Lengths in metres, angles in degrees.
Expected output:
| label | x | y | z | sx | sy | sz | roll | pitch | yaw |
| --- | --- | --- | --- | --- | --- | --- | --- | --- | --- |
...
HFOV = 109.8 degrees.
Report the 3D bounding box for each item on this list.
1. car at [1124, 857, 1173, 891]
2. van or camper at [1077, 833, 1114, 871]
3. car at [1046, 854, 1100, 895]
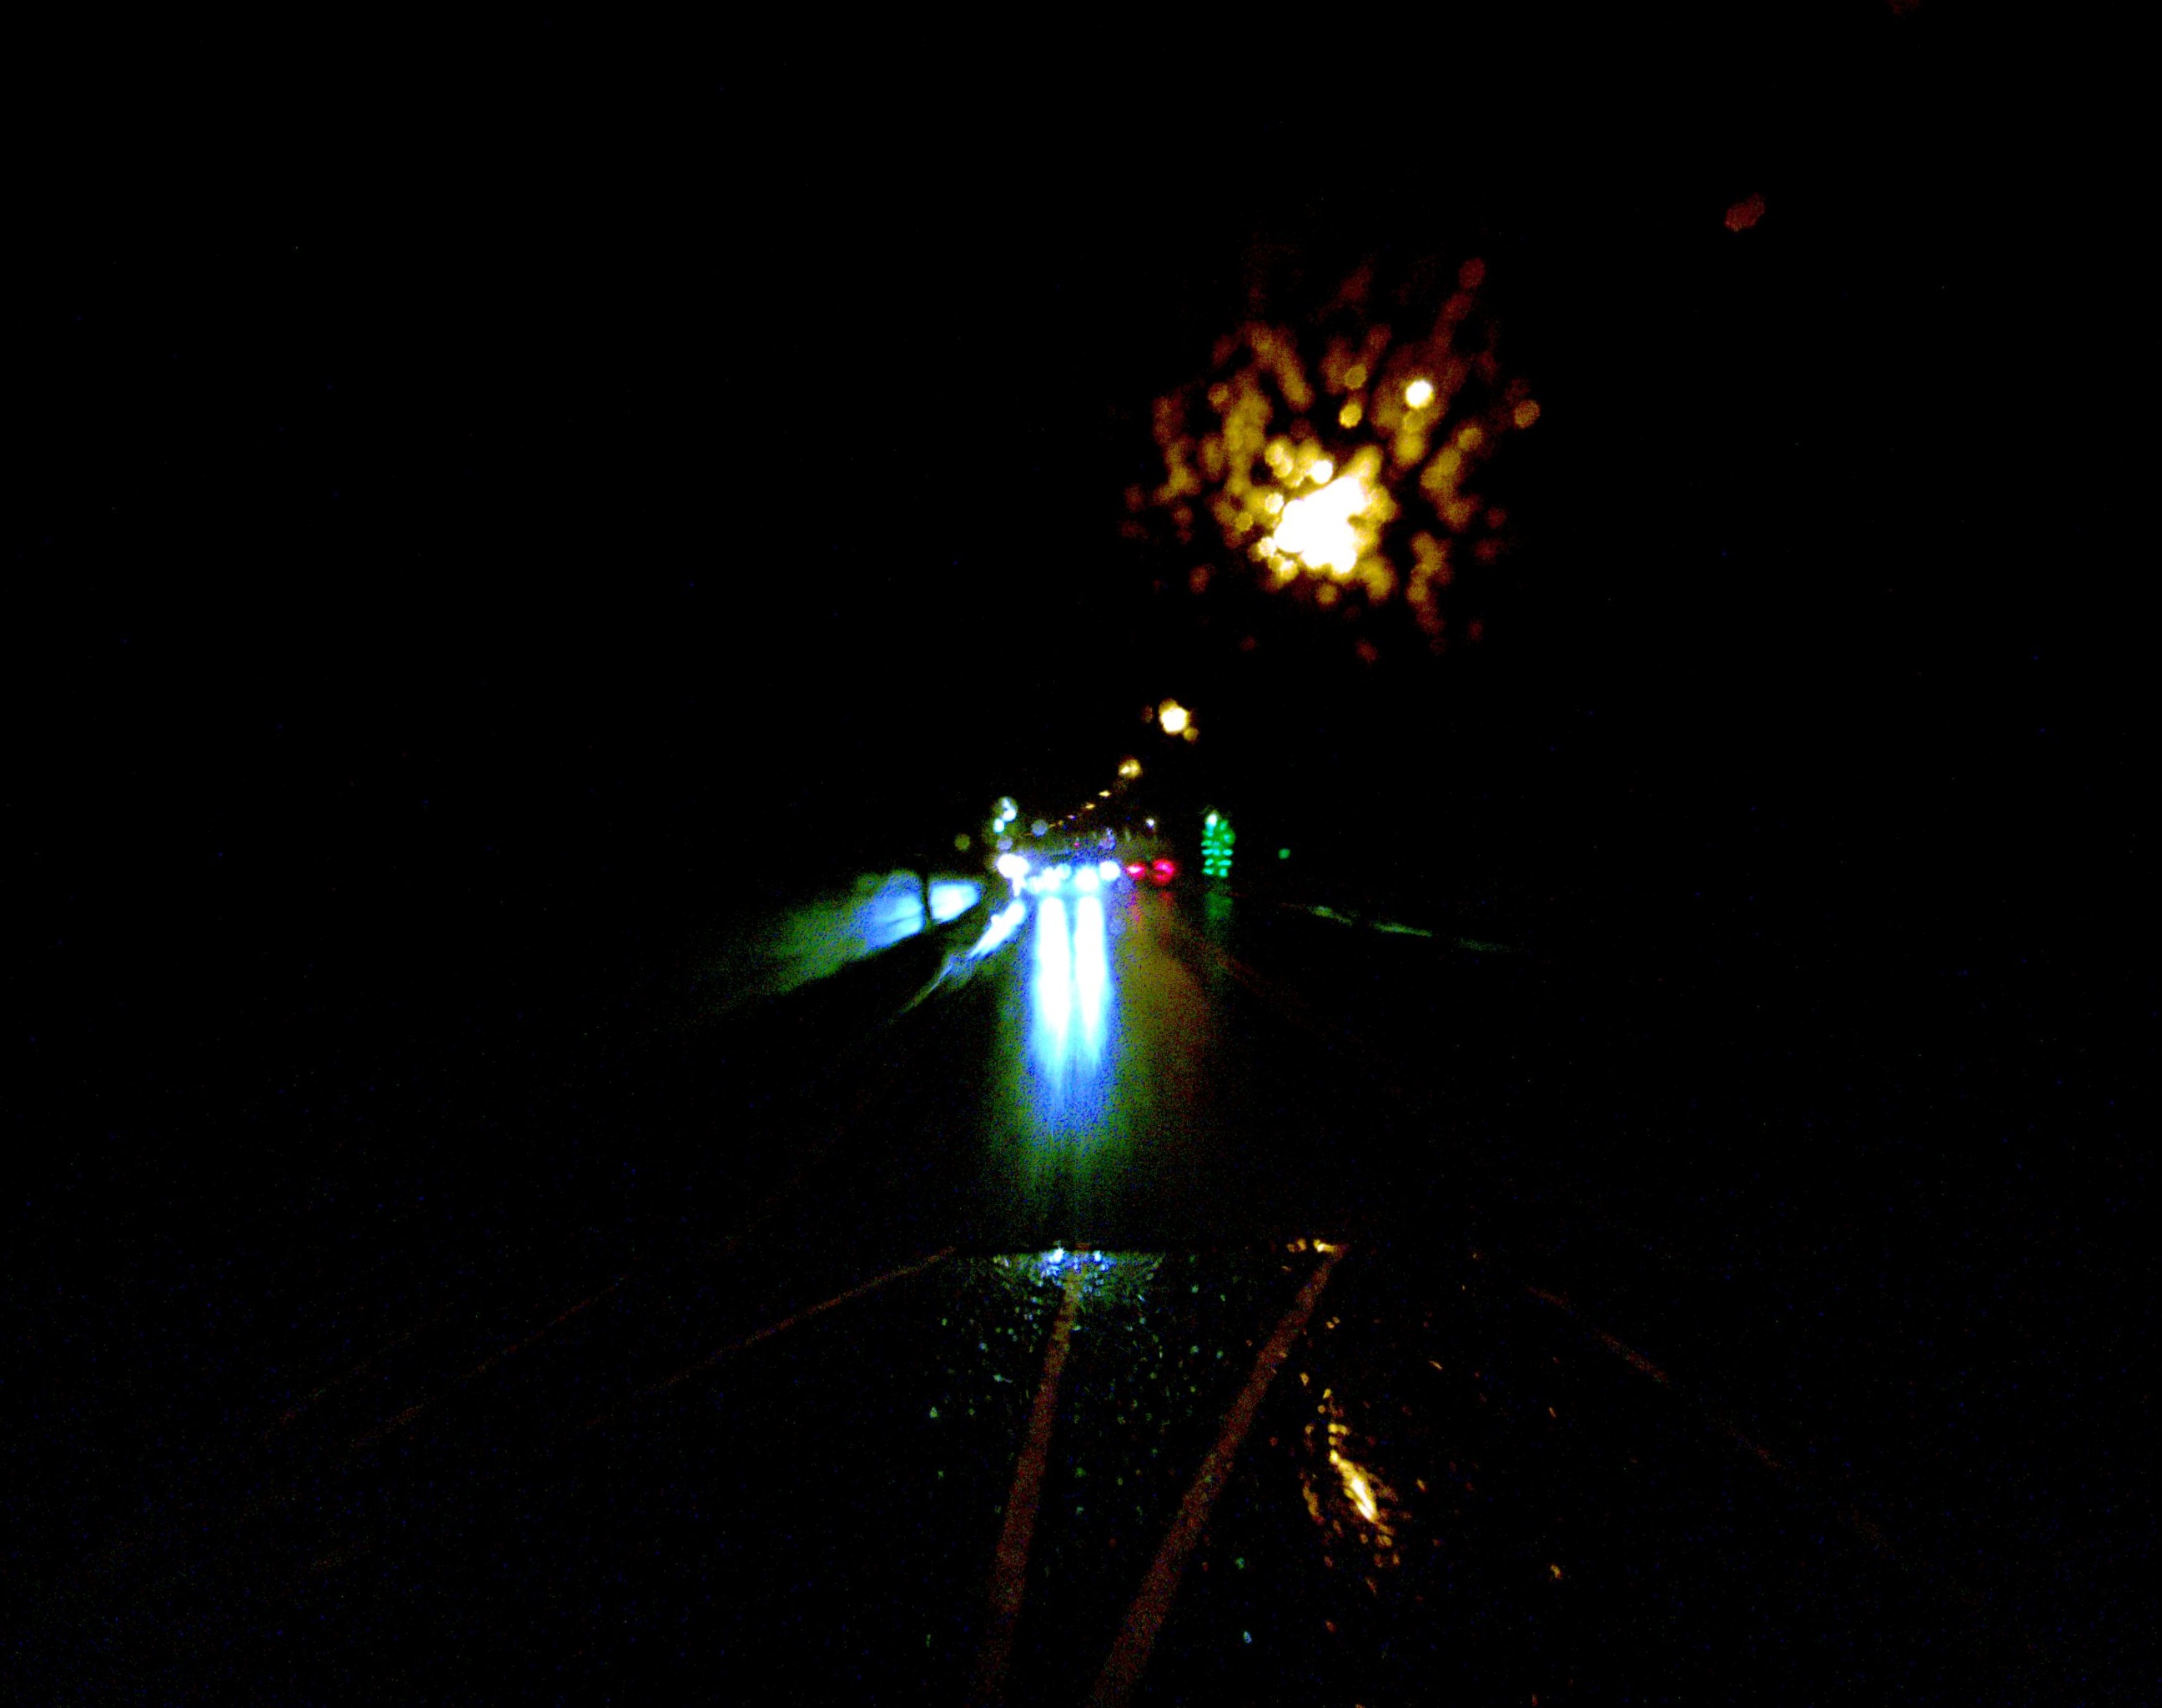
| label | x | y | z | sx | sy | sz | roll | pitch | yaw |
| --- | --- | --- | --- | --- | --- | --- | --- | --- | --- |
| car | 3.092 | 0.870 | 35.406 | 1.839 | 1.375 | 4.646 | -2 | 0 | 0 |
| van or camper | 1.117 | -0.187 | 62.345 | 2.420 | 2.866 | 6.675 | -2 | 1 | -4 |
| car | -0.400 | 0.799 | 31.835 | 1.999 | 1.546 | 3.998 | -1 | 1 | -4 |
